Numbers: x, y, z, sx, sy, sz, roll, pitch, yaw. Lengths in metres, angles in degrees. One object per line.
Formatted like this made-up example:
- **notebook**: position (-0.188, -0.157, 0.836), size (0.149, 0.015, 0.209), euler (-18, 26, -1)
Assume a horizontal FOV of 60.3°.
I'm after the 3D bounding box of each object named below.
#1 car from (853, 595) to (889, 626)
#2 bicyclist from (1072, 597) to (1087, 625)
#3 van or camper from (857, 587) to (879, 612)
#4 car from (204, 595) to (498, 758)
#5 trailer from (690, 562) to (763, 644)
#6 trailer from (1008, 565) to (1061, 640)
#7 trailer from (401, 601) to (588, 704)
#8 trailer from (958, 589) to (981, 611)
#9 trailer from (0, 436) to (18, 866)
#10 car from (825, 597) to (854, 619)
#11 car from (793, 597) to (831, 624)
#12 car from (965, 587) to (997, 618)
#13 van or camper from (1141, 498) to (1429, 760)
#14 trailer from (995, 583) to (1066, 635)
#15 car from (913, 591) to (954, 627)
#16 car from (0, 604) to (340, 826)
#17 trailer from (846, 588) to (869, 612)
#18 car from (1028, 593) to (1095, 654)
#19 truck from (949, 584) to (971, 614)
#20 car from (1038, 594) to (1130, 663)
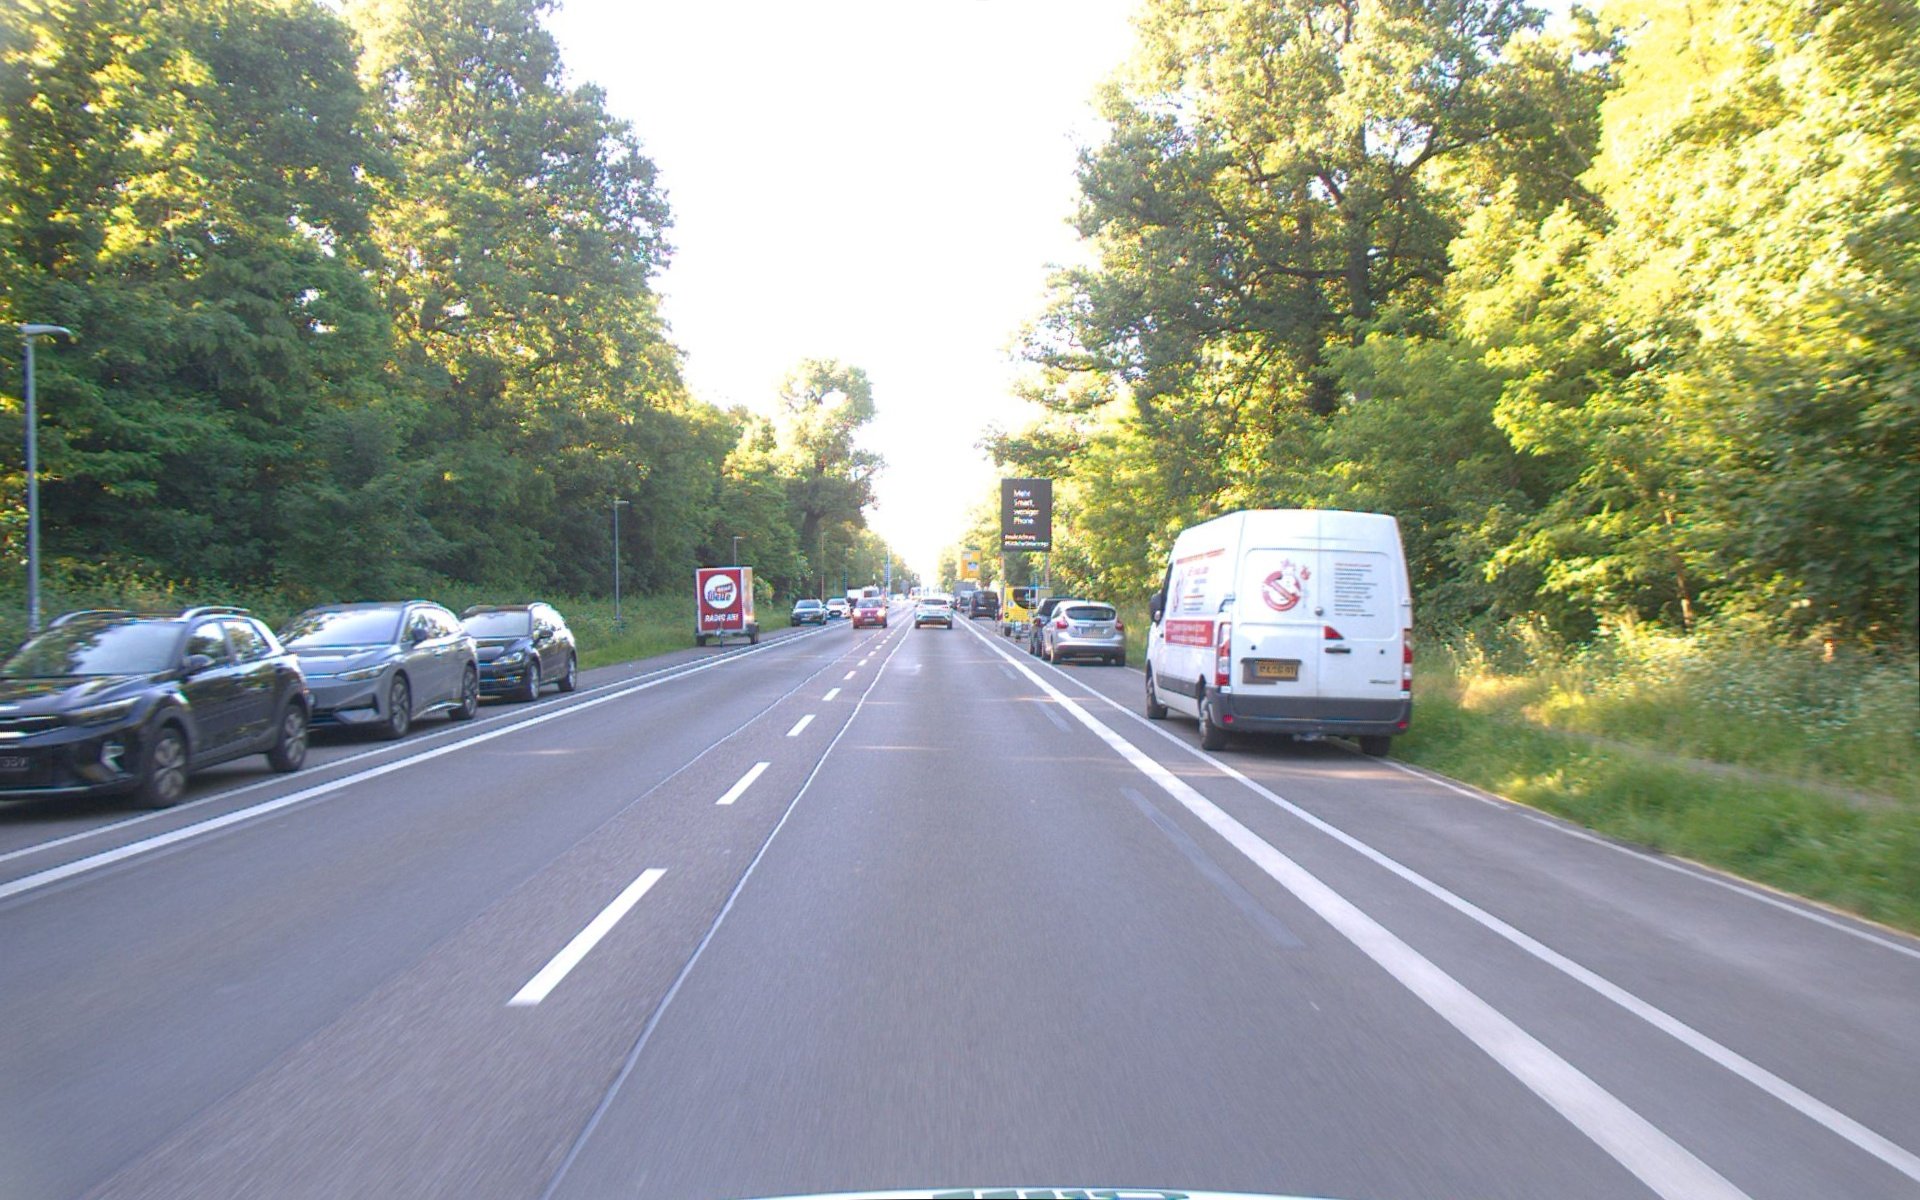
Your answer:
- **car**: position (-4.273, 0.484, 80.039), size (1.571, 1.445, 3.517), euler (-2, 0, -1)
- **bicyclist**: position (5.846, 0.547, 80.894), size (0.598, 1.348, 1.175), euler (0, 0, -1)
- **van or camper**: position (-10.796, -0.071, 194.432), size (2.255, 2.816, 5.556), euler (-3, 0, -1)
- **car**: position (-7.114, 0.810, 19.939), size (1.637, 1.601, 5.126), euler (-4, 0, -1)
- **trailer**: position (-7.904, 0.096, 56.263), size (1.953, 2.667, 4.085), euler (0, 0, -1)
- **trailer**: position (2.628, 0.091, 59.145), size (1.581, 2.552, 3.999), euler (1, 0, -1)
- **trailer**: position (-7.341, 0.778, 26.533), size (1.804, 1.492, 4.465), euler (0, 0, -1)
- **trailer**: position (0.959, -0.002, 161.355), size (1.580, 2.149, 2.397), euler (0, 0, 19)
- **trailer**: position (-6.741, 0.325, 7.807), size (2.300, 2.573, 4.340), euler (-1, 0, -4)
- **car**: position (-8.872, 0.553, 121.852), size (1.829, 1.476, 4.070), euler (-3, 0, -1)
- **car**: position (-8.460, 0.566, 94.831), size (1.817, 1.490, 4.783), euler (0, 0, -1)
- **car**: position (1.460, 0.172, 117.092), size (2.070, 2.049, 5.039), euler (2, 0, -1)
- **van or camper**: position (3.491, 0.271, 19.170), size (2.082, 2.526, 6.304), euler (0, 0, 0)
- **trailer**: position (2.926, 0.334, 67.578), size (1.921, 2.058, 3.845), euler (0, 0, 18)
- **car**: position (-1.280, 0.408, 79.726), size (1.953, 1.668, 3.999), euler (-1, 0, -1)
- **car**: position (-6.809, 0.848, 13.839), size (1.637, 1.521, 4.193), euler (-4, 0, -1)
- **trailer**: position (-10.084, 0.027, 162.924), size (2.032, 2.333, 3.487), euler (-1, 0, 1)
- **car**: position (2.730, 0.615, 44.905), size (1.554, 1.557, 3.010), euler (1, 0, -1)
- **truck**: position (0.005, -0.110, 191.161), size (2.454, 3.425, 7.106), euler (1, 0, 0)
- **car**: position (2.930, 0.650, 39.853), size (1.700, 1.514, 4.399), euler (2, 0, -2)
